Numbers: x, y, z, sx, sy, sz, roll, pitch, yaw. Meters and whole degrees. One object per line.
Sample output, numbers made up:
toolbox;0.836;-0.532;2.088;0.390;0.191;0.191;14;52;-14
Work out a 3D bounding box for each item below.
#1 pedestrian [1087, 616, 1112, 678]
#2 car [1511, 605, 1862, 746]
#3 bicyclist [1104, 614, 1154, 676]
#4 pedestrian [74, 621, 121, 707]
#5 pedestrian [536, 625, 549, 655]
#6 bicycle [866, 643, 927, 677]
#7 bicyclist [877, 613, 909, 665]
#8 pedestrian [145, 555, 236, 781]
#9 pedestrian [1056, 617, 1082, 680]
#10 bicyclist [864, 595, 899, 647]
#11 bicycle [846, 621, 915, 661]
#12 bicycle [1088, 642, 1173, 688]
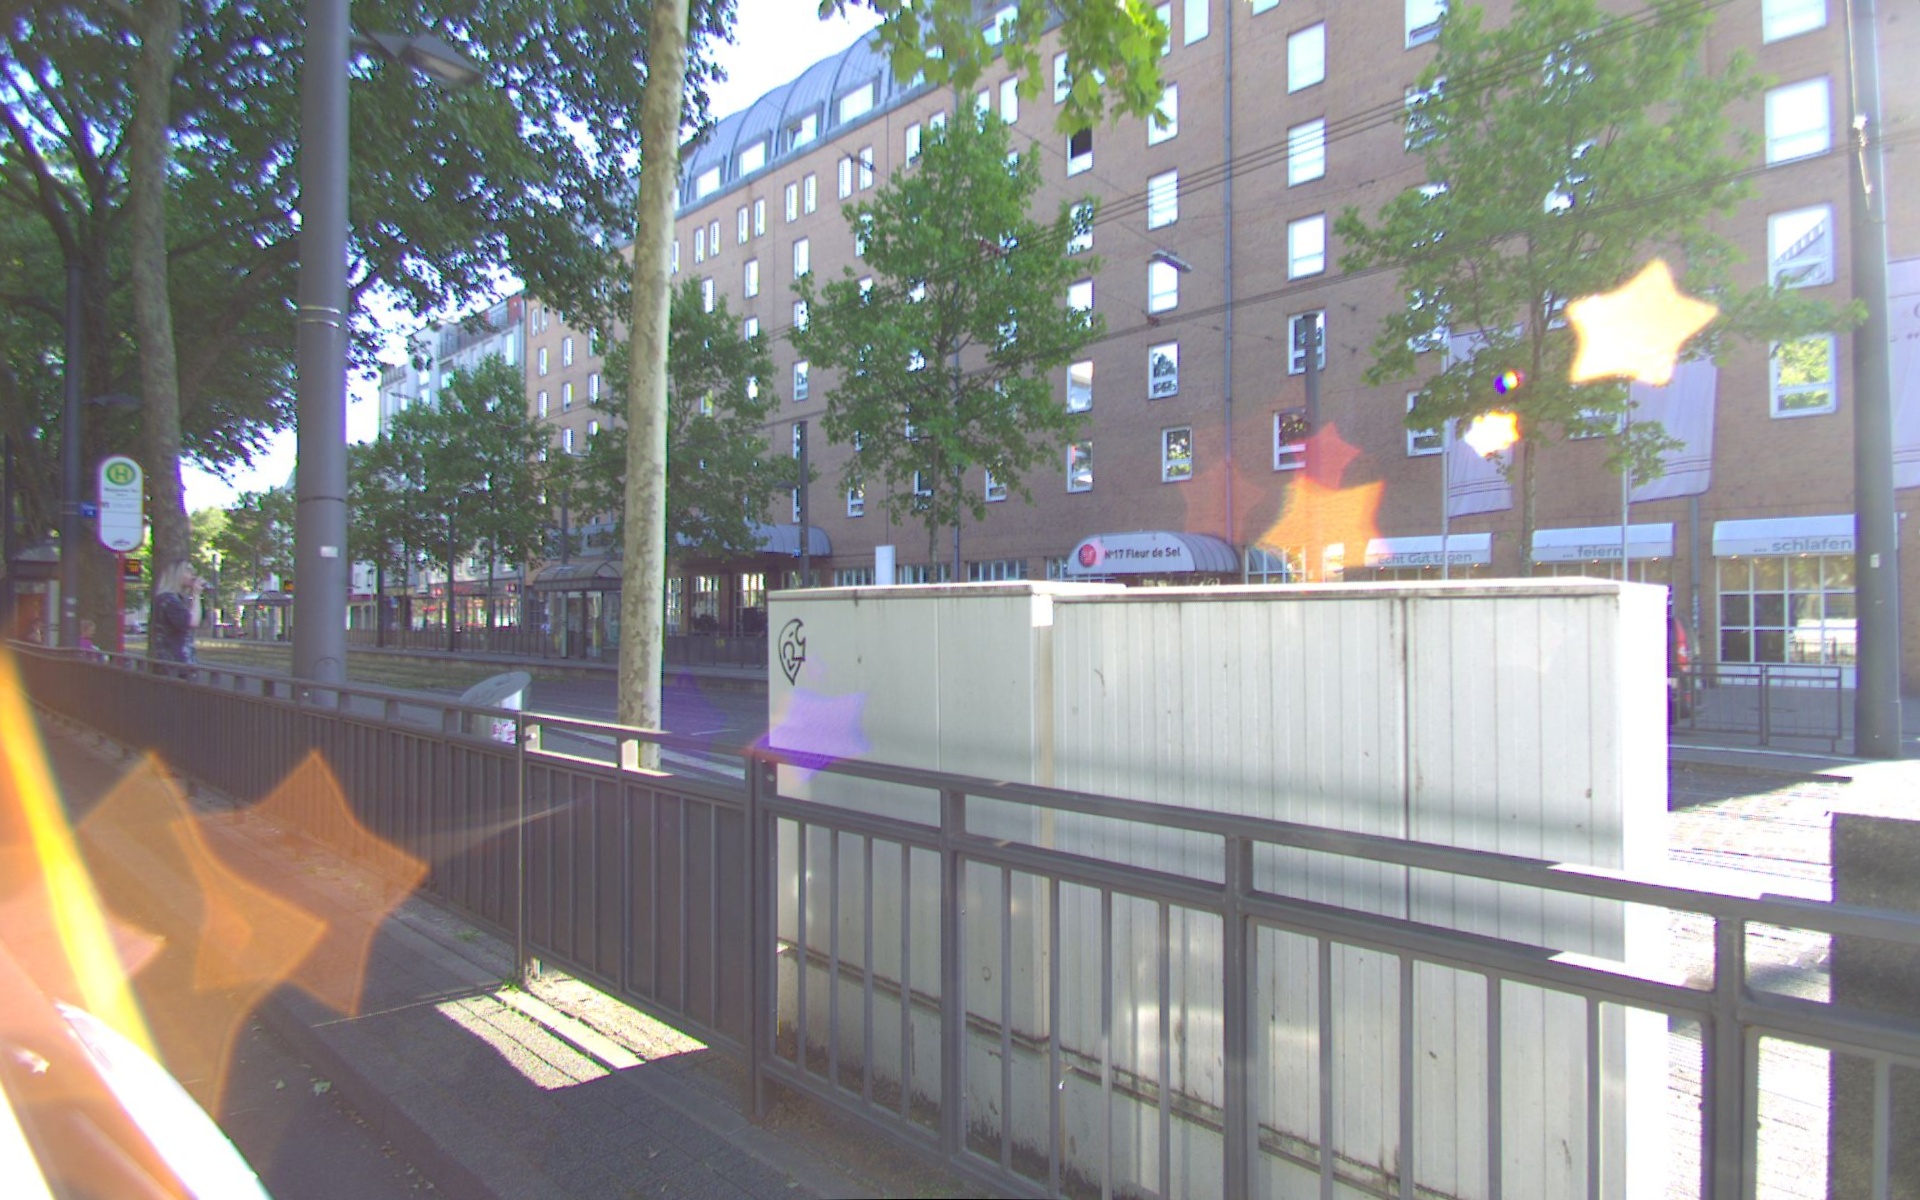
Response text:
pedestrian;4.001;1.351;29.077;0.437;1.748;0.545;1;-2;-42
car;10.568;0.999;14.936;3.997;1.776;1.849;-1;0;40
bicyclist;4.159;1.087;24.901;1.031;1.485;0.647;-1;-1;36
pedestrian;-13.908;1.020;16.322;0.534;1.327;0.525;-1;0;-37
pedestrian;-24.033;2.306;58.303;0.574;1.748;0.497;-2;-2;43
bicycle;-1.987;1.850;31.606;1.897;1.006;0.647;-1;-2;34
bicyclist;-2.093;1.220;31.694;0.756;1.586;0.655;-1;-2;34
pedestrian;-6.584;0.557;8.660;0.524;1.848;0.535;-1;0;45
pedestrian;3.053;1.355;28.359;0.472;1.748;0.545;1;-2;-42
bicyclist;-2.400;0.651;30.942;0.756;1.572;0.676;-4;-4;33
bicycle;-2.445;1.264;30.951;2.105;1.151;0.679;-4;-4;34
bicycle;4.179;1.581;24.874;2.009;1.058;0.646;-1;-1;37
